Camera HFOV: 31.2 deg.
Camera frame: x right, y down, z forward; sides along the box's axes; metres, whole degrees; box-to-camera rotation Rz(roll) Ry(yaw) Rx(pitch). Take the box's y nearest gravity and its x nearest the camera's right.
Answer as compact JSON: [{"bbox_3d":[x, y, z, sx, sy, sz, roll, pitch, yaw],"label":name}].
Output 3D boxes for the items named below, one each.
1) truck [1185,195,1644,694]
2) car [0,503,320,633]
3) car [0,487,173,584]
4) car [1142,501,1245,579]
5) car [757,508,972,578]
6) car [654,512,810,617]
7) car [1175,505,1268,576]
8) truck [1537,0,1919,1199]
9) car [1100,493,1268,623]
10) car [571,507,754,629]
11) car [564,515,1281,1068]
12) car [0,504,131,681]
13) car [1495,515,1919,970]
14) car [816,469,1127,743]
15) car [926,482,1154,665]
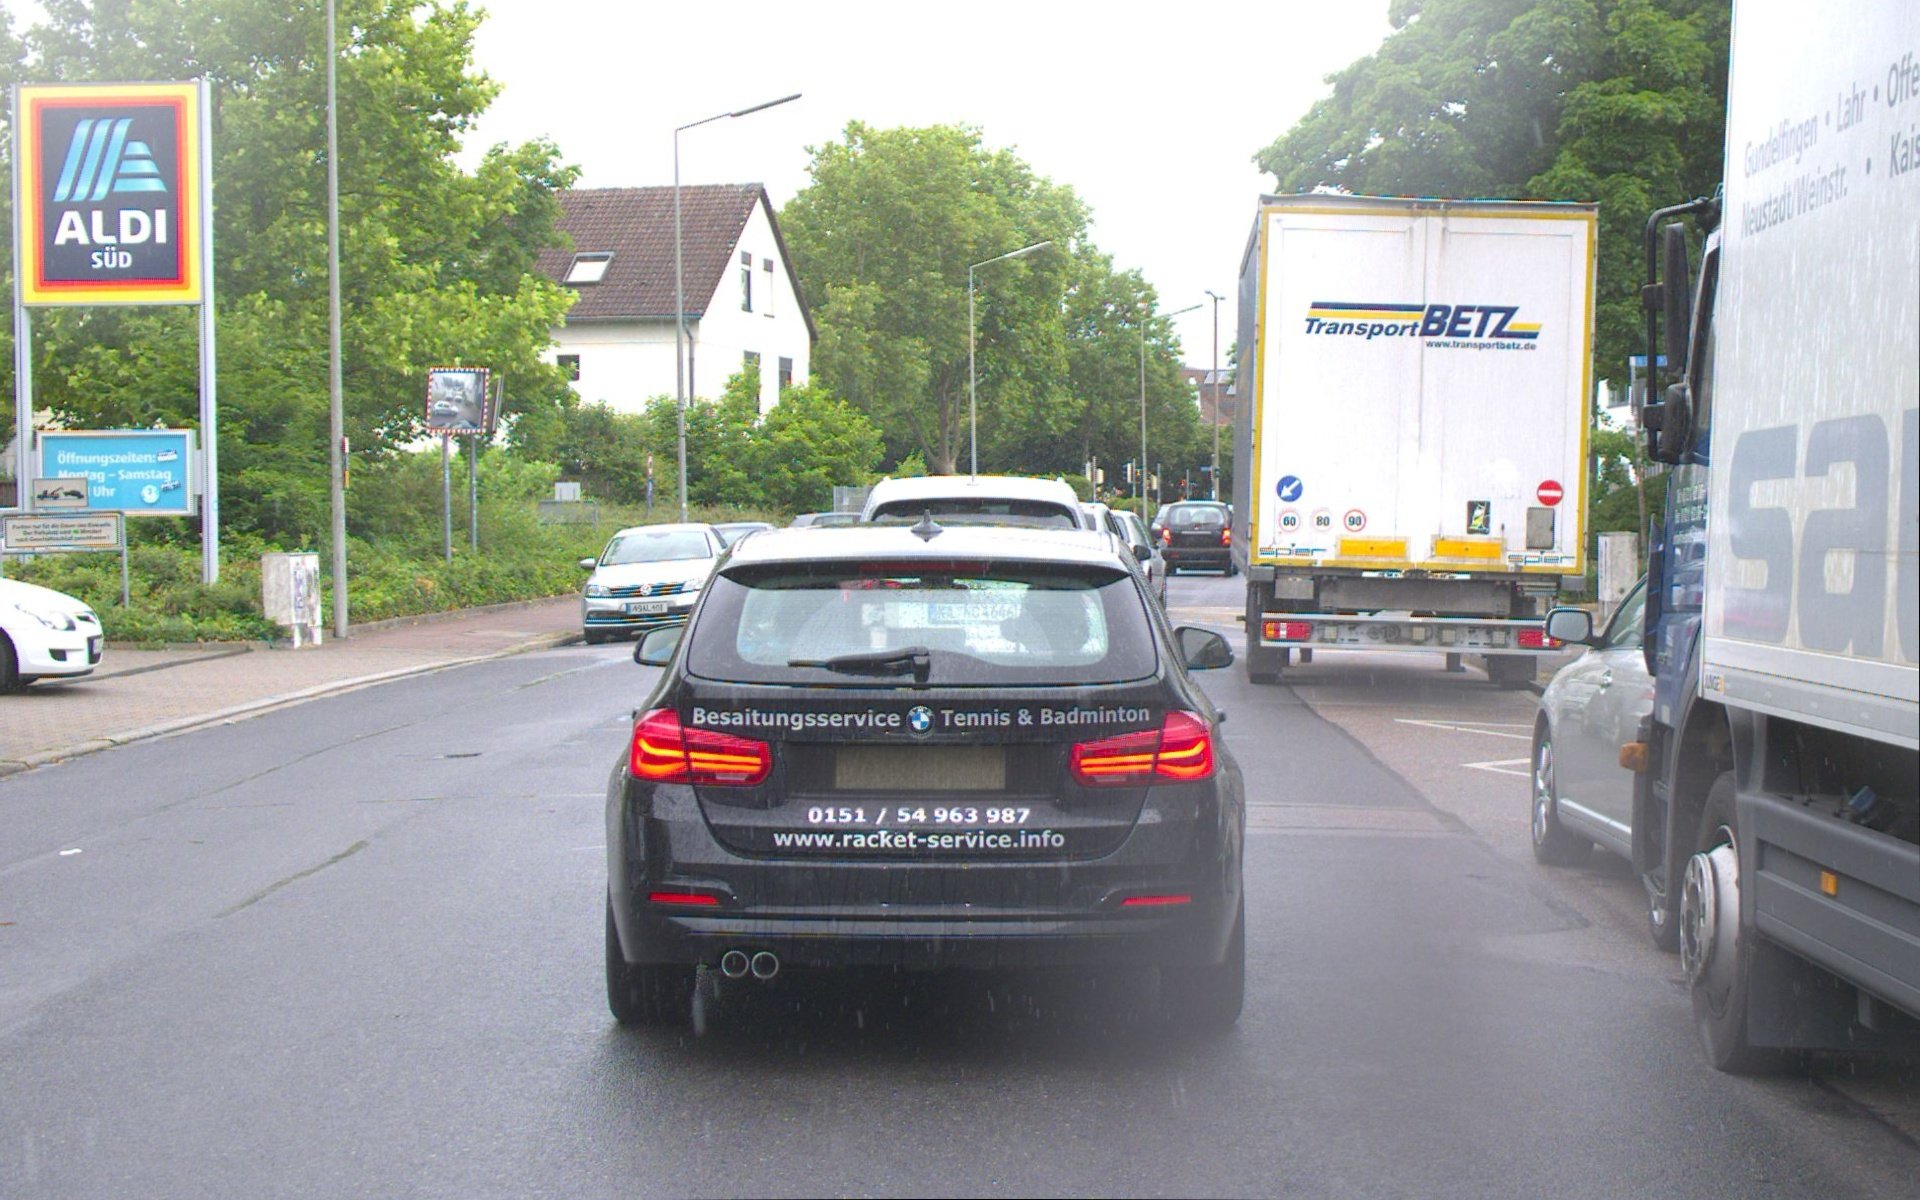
[{"bbox_3d":[3.616,-1.259,29.322,2.741,3.598,7.751,2,2,0],"label":"truck"},{"bbox_3d":[-9.707,-0.406,41.537,3.570,1.454,1.712,1,2,2],"label":"car"},{"bbox_3d":[-14.898,-1.044,55.368,3.987,1.535,1.911,0,2,1],"label":"car"},{"bbox_3d":[4.950,-1.275,72.489,1.805,1.581,3.999,1,1,9],"label":"car"},{"bbox_3d":[-1.882,-1.144,68.272,4.187,1.358,1.589,0,2,1],"label":"car"},{"bbox_3d":[-3.249,-0.540,49.673,1.706,1.362,3.838,-3,2,4],"label":"car"},{"bbox_3d":[6.047,-1.381,79.074,1.805,1.581,3.999,1,1,9],"label":"car"},{"bbox_3d":[3.194,-0.534,5.953,2.741,3.776,9.300,2,2,0],"label":"truck"},{"bbox_3d":[3.012,-0.582,46.974,1.993,1.678,4.000,0,1,-1],"label":"car"},{"bbox_3d":[-3.716,-0.445,43.706,1.705,1.362,4.601,-3,2,2],"label":"car"},{"bbox_3d":[-0.155,0.444,10.701,1.804,1.390,4.001,0,1,-2],"label":"car"},{"bbox_3d":[-9.315,-0.095,29.156,4.190,1.455,1.713,0,2,-2],"label":"car"},{"bbox_3d":[3.308,0.406,13.236,1.797,1.436,4.345,-1,2,0],"label":"car"},{"bbox_3d":[0.008,-0.006,22.034,1.804,1.581,4.001,0,1,-2],"label":"car"},{"bbox_3d":[0.805,-0.276,32.084,1.804,1.581,3.999,1,1,6],"label":"car"}]
